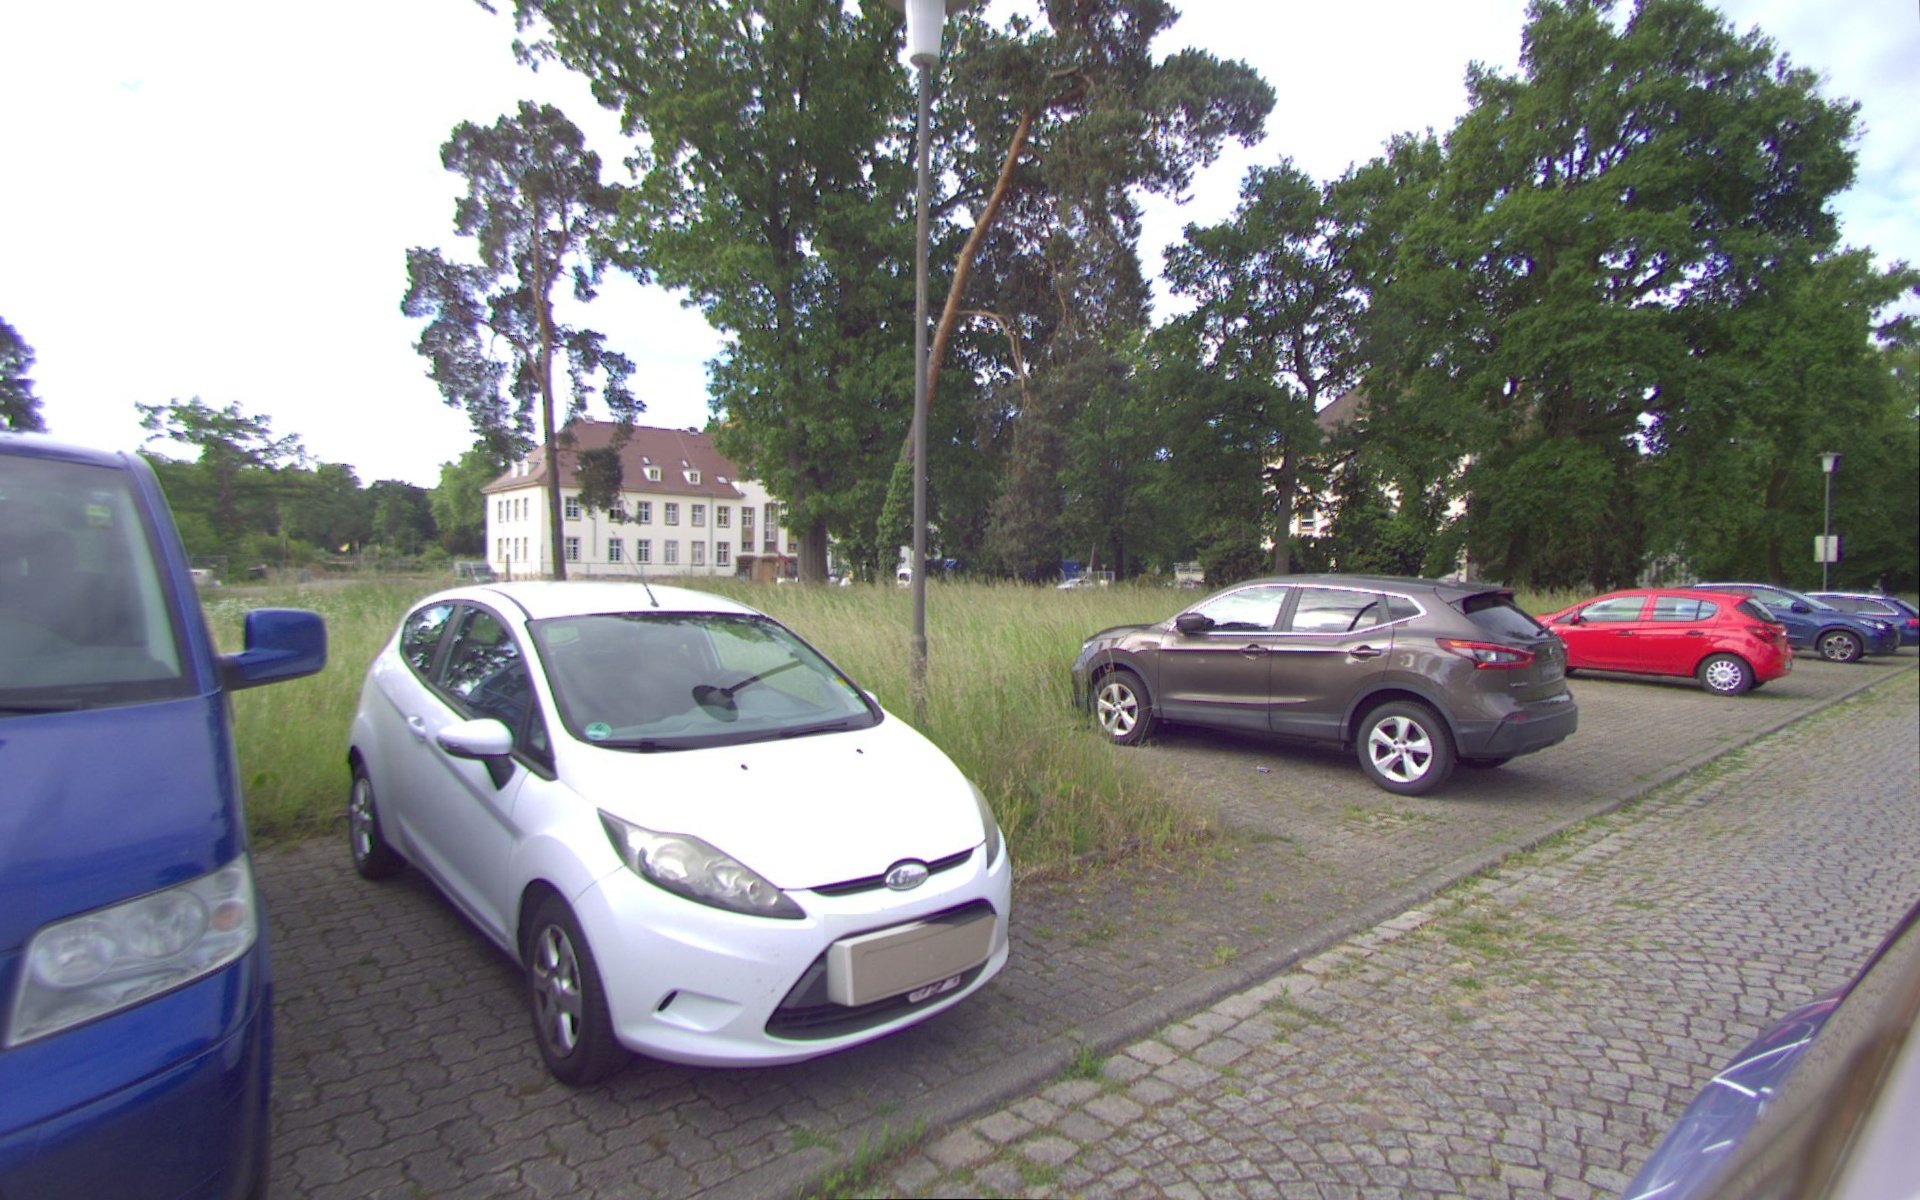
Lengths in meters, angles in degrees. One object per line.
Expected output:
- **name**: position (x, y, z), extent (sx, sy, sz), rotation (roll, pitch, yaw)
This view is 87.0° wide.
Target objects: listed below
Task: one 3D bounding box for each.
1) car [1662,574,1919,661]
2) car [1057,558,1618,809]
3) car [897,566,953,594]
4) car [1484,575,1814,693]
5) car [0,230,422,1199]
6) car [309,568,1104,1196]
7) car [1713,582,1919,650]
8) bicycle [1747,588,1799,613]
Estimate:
- **car**: position (18.261, 0.305, 22.319), extent (1.855, 1.642, 4.251), rotation (0, 2, -42)
- **car**: position (3.078, 0.484, 8.918), extent (1.920, 1.614, 4.209), rotation (0, 3, -43)
- **car**: position (-3.034, -1.763, 88.521), extent (4.855, 2.332, 1.921), rotation (0, 2, -42)
- **car**: position (10.568, 0.418, 15.738), extent (1.755, 1.515, 3.929), rotation (0, 2, -42)
- **car**: position (-3.302, 0.396, 2.923), extent (1.933, 2.028, 4.802), rotation (0, 3, -43)
- **car**: position (-1.506, 0.650, 4.593), extent (1.693, 1.497, 4.102), rotation (0, 3, -44)
- **car**: position (21.798, 0.338, 25.352), extent (1.892, 1.457, 4.368), rotation (0, 2, -39)
- **bicycle**: position (39.804, 0.012, 49.564), extent (1.918, 1.185, 0.484), rotation (-1, 0, 24)
